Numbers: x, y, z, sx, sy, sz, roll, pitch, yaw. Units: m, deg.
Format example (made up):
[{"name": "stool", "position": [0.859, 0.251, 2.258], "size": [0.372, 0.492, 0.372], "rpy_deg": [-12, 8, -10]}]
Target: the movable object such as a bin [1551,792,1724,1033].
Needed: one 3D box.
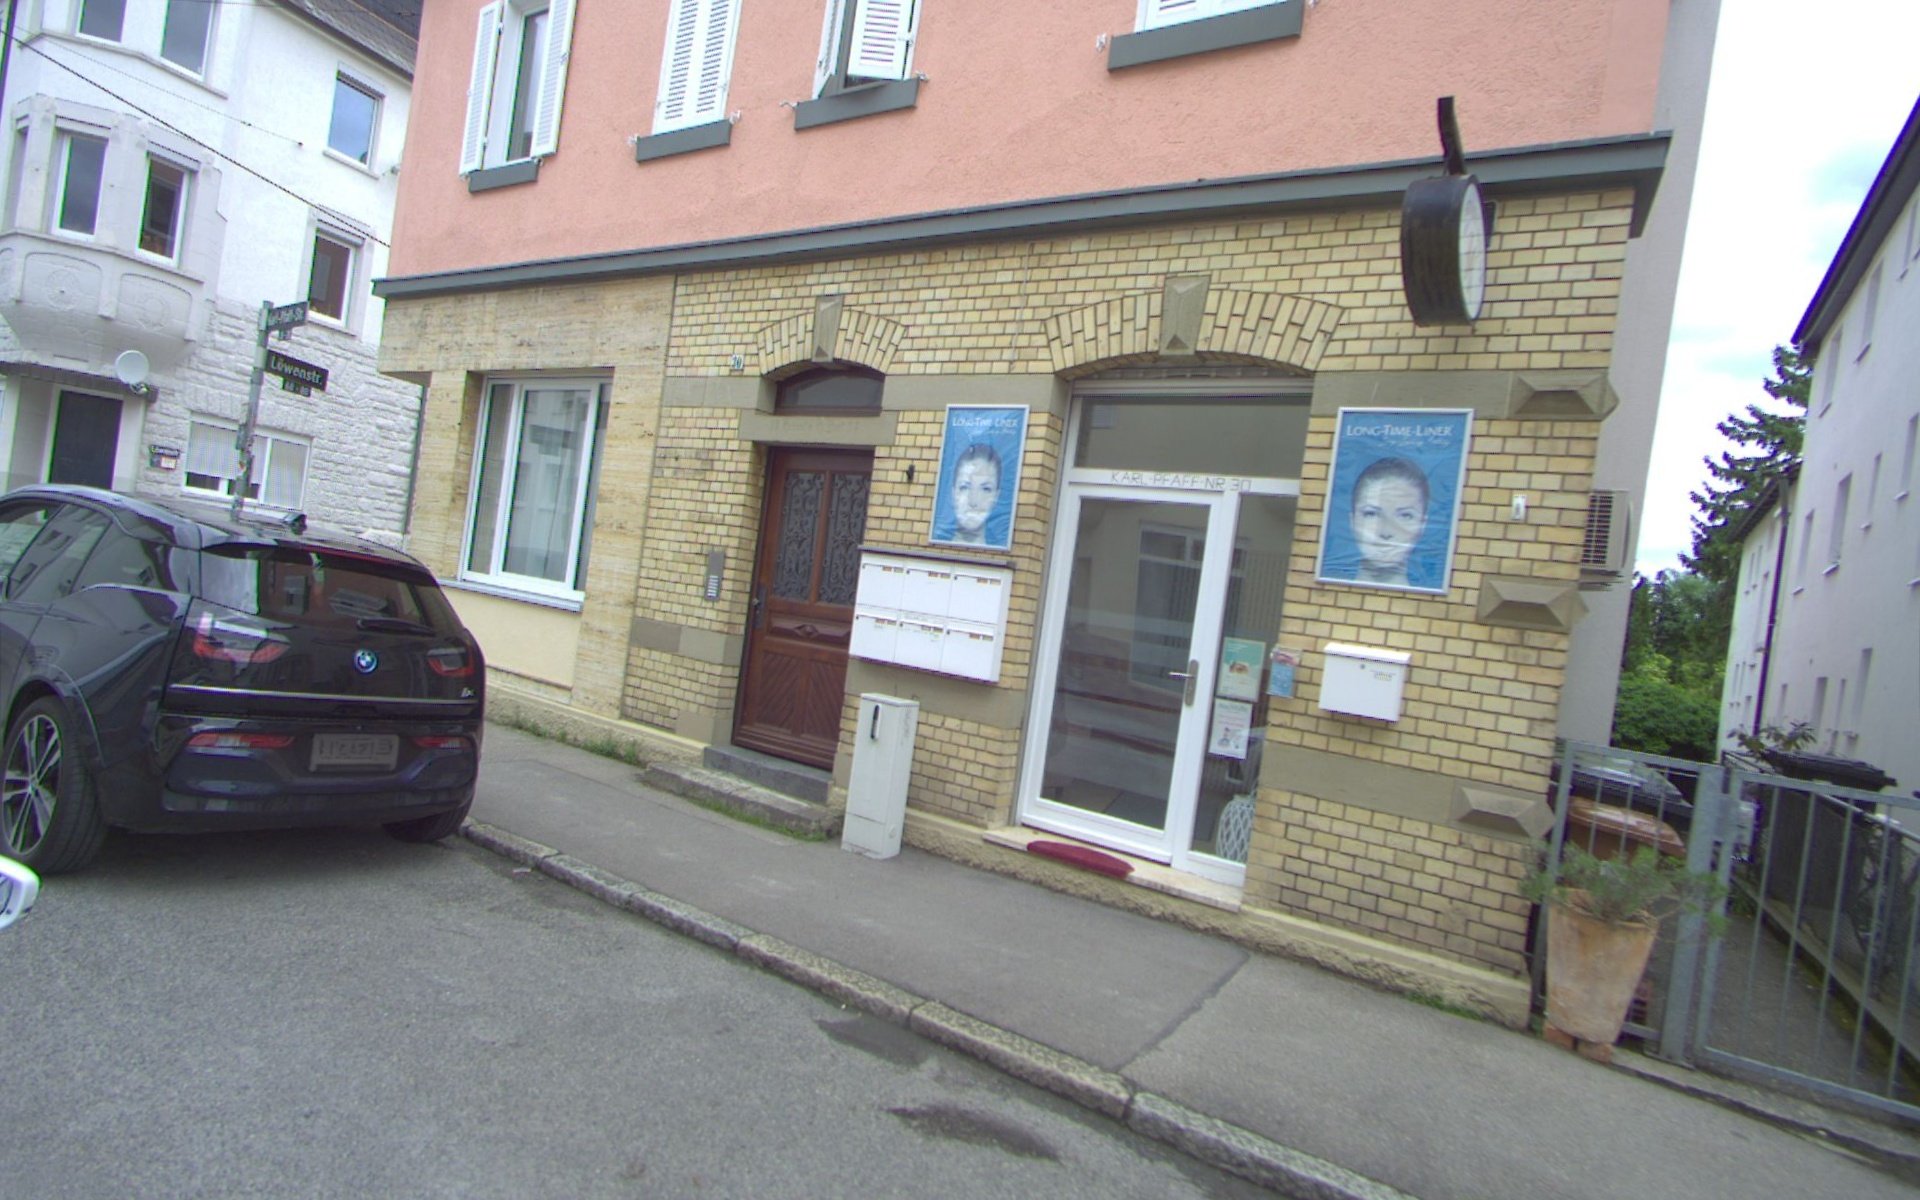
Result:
[{"name": "movable object such as a bin", "position": [3.270, 1.483, 4.902], "size": [0.538, 0.936, 0.504], "rpy_deg": [8, 1, 28]}]

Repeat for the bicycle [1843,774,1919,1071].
[{"name": "bicycle", "position": [4.633, 1.508, 4.862], "size": [0.290, 1.233, 1.198], "rpy_deg": [8, 0, 36]}]

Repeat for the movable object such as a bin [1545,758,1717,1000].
[{"name": "movable object such as a bin", "position": [3.565, 1.453, 5.391], "size": [0.594, 1.074, 0.504], "rpy_deg": [8, 2, 28]}]

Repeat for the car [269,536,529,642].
[{"name": "car", "position": [-11.021, -0.145, 20.136], "size": [1.674, 1.429, 4.243], "rpy_deg": [8, -3, 25]}]

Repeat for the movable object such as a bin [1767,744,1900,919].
[{"name": "movable object such as a bin", "position": [6.297, 1.643, 7.281], "size": [0.538, 1.092, 0.504], "rpy_deg": [8, 2, 33]}]

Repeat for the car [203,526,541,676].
[{"name": "car", "position": [-7.972, 0.110, 14.011], "size": [1.643, 1.495, 3.628], "rpy_deg": [8, -3, 25]}]

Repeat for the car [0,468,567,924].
[{"name": "car", "position": [-4.255, 0.254, 5.346], "size": [3.959, 1.560, 1.823], "rpy_deg": [7, -2, 30]}]

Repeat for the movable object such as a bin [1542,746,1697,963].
[{"name": "movable object such as a bin", "position": [3.876, 1.472, 5.955], "size": [0.594, 1.074, 0.504], "rpy_deg": [8, 2, 28]}]

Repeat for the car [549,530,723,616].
[{"name": "car", "position": [-8.442, -0.649, 26.635], "size": [1.818, 1.532, 4.243], "rpy_deg": [8, -3, 25]}]
